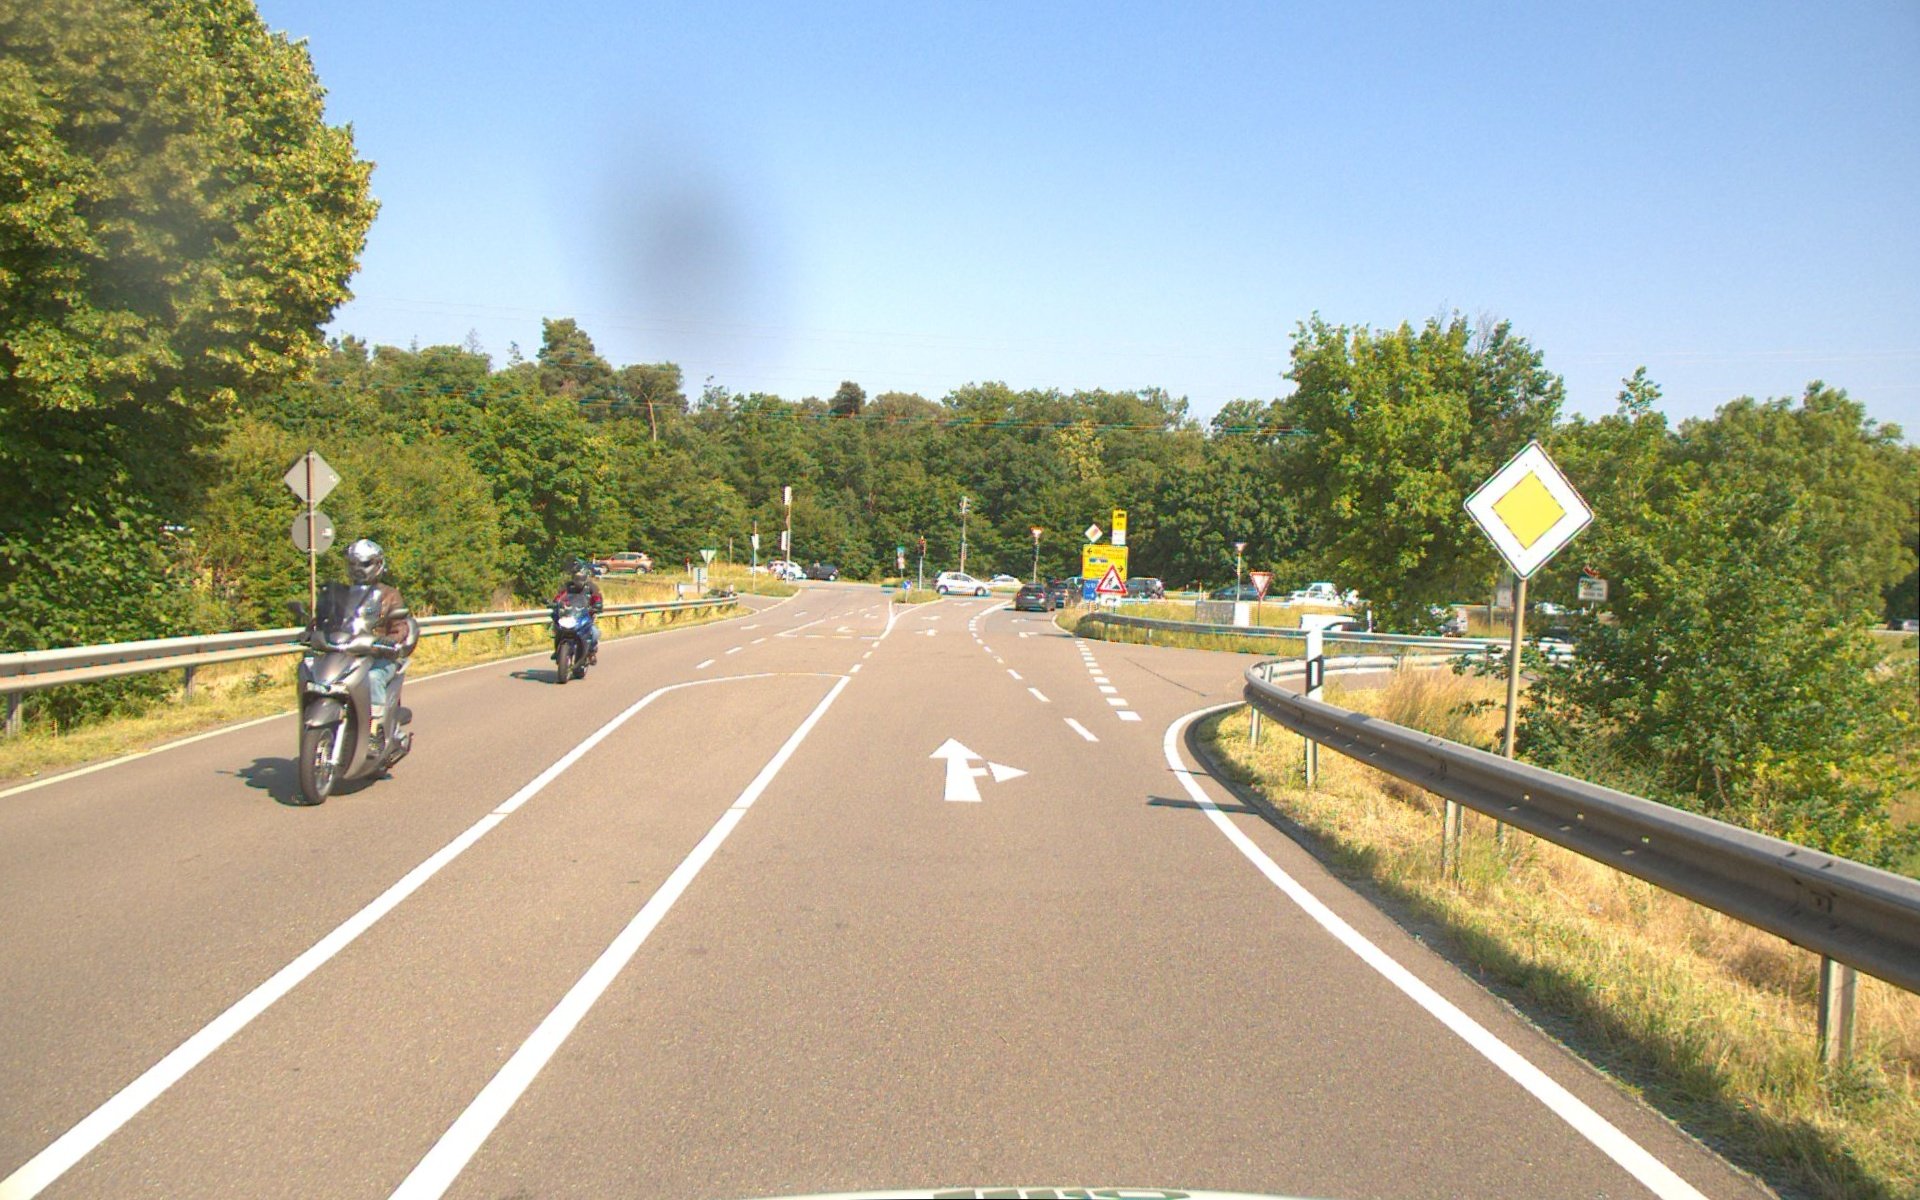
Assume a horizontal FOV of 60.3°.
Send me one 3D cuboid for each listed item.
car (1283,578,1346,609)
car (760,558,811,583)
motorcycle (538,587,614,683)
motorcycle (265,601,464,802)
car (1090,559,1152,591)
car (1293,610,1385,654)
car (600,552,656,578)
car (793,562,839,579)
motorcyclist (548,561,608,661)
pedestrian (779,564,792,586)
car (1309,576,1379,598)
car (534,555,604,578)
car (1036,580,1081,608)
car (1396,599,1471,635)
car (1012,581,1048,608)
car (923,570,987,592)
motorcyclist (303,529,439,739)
[{"bbox_3d":[24.876,-0.458,116.020,3.909,2.048,1.799,2,2,-5],"label":"car"},{"bbox_3d":[-14.383,-2.416,136.430,3.931,2.049,1.784,0,1,-22],"label":"car"},{"bbox_3d":[-5.601,0.479,24.225,0.703,1.331,2.180,0,1,-3],"label":"motorcycle"},{"bbox_3d":[-4.154,0.657,11.712,0.702,1.272,2.078,0,1,-2],"label":"motorcycle"},{"bbox_3d":[11.136,-1.751,114.420,3.911,2.048,1.798,1,2,-7],"label":"car"},{"bbox_3d":[18.556,1.560,81.111,4.262,1.814,1.903,3,1,12],"label":"car"},{"bbox_3d":[-23.832,-2.510,118.849,3.916,1.780,1.758,0,1,-12],"label":"car"},{"bbox_3d":[-12.465,-2.560,143.286,3.911,1.447,1.793,0,1,-7],"label":"car"},{"bbox_3d":[-5.604,0.150,24.280,0.685,1.432,0.978,0,0,-2],"label":"motorcyclist"},{"bbox_3d":[-14.238,-2.060,134.882,0.664,1.751,0.758,2,1,29],"label":"pedestrian"},{"bbox_3d":[28.700,-0.961,123.673,4.788,1.579,1.997,0,1,-7],"label":"car"},{"bbox_3d":[-25.852,-2.190,109.546,4.282,1.485,1.997,0,1,-7],"label":"car"},{"bbox_3d":[5.900,-0.352,98.439,1.761,1.527,4.003,3,1,16],"label":"car"},{"bbox_3d":[29.271,1.038,102.342,3.926,1.909,1.882,5,2,39],"label":"car"},{"bbox_3d":[3.889,-0.307,91.089,1.761,1.422,4.003,-1,1,5],"label":"car"},{"bbox_3d":[-0.351,-1.286,112.166,4.148,1.485,1.997,0,1,-7],"label":"car"},{"bbox_3d":[-4.146,0.226,11.688,0.685,1.432,0.784,0,0,-2],"label":"motorcyclist"}]
